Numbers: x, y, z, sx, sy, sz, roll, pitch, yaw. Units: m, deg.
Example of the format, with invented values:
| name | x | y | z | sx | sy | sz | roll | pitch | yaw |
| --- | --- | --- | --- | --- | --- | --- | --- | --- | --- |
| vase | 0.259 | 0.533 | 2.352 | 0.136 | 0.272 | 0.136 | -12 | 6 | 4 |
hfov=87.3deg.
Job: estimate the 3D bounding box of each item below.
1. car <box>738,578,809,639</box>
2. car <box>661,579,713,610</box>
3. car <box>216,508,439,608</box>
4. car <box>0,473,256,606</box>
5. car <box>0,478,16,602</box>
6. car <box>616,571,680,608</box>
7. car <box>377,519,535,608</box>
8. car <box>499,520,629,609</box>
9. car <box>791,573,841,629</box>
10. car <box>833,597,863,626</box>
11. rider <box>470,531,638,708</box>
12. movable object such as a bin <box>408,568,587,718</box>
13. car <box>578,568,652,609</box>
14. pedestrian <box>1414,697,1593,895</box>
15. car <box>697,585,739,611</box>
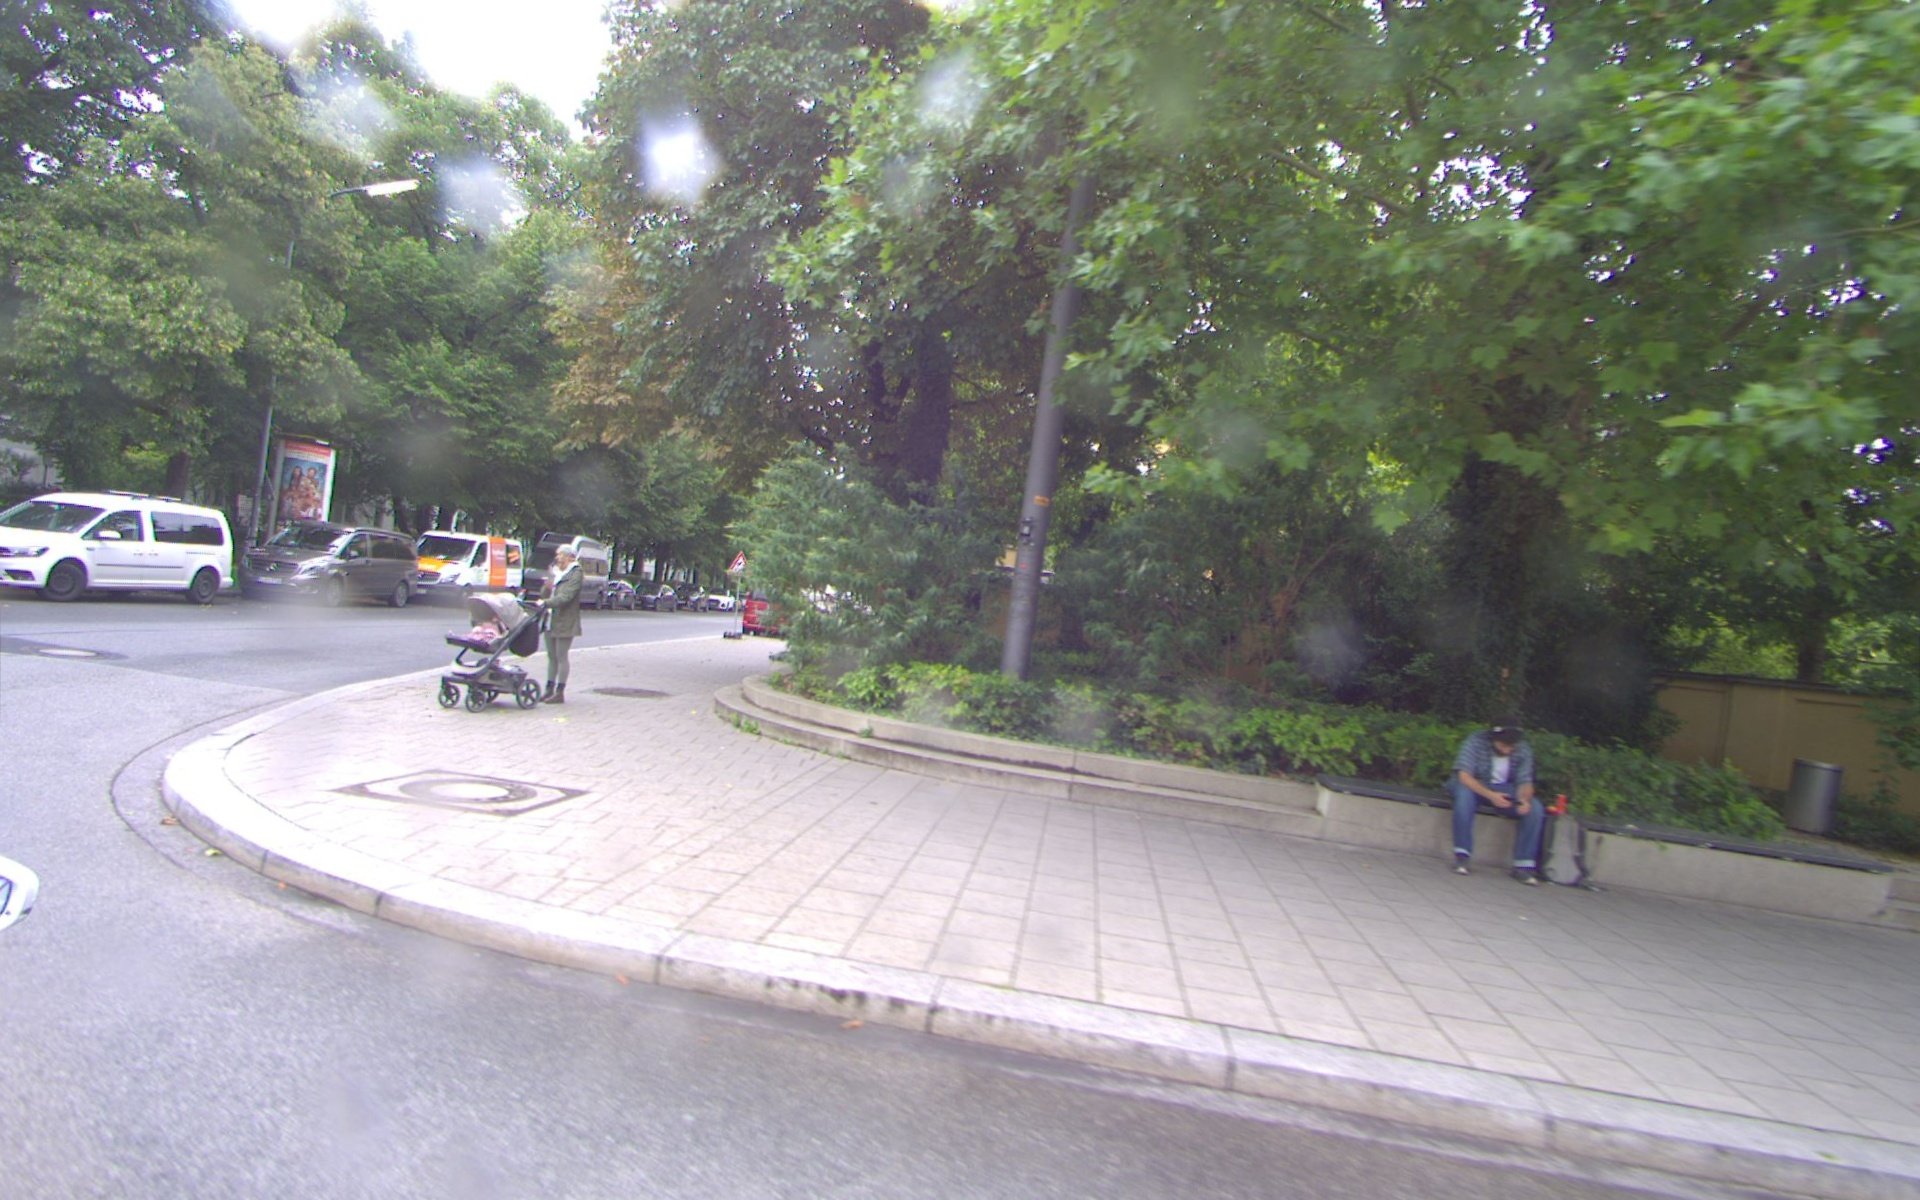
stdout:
| name | x | y | z | sx | sy | sz | roll | pitch | yaw |
| --- | --- | --- | --- | --- | --- | --- | --- | --- | --- |
| car | -6.985 | 0.295 | 38.118 | 2.012 | 1.946 | 4.442 | 7 | 0 | -5 |
| car | -16.314 | -0.297 | 60.289 | 1.867 | 1.590 | 4.074 | 7 | -1 | -1 |
| car | -15.051 | -0.899 | 24.373 | 2.033 | 1.881 | 4.987 | 7 | -1 | 0 |
| car | -15.045 | -0.996 | 17.589 | 1.897 | 1.917 | 4.867 | 7 | -1 | -1 |
| car | -14.872 | -1.029 | 12.207 | 2.033 | 1.788 | 4.907 | 7 | -1 | 0 |
| car | -15.971 | -0.494 | 51.719 | 1.867 | 1.556 | 4.074 | 7 | -1 | -1 |
| car | -15.543 | -1.019 | 31.434 | 2.078 | 2.278 | 5.195 | 7 | -1 | 0 |
| car | -15.799 | -1.294 | 40.649 | 2.299 | 2.957 | 6.579 | 7 | -1 | 0 |
| car | -7.658 | 0.068 | 53.868 | 2.011 | 2.589 | 5.244 | 7 | 0 | -5 |
| car | -8.540 | 0.836 | 76.927 | 2.012 | 1.946 | 4.442 | 7 | 0 | -5 |
| rider | -4.251 | 0.203 | 10.619 | 1.065 | 1.688 | 1.140 | 5 | 0 | 13 |
| movable object such as a bin | -4.461 | 0.404 | 9.777 | 1.061 | 1.283 | 1.087 | 5 | 0 | 13 |
| car | -15.971 | -0.488 | 46.803 | 1.867 | 1.590 | 4.309 | 7 | -1 | -1 |
| pedestrian | 3.975 | 1.402 | 7.450 | 0.799 | 1.203 | 0.920 | 7 | 0 | 11 |
| car | -17.139 | -0.116 | 71.508 | 1.867 | 1.590 | 4.074 | 7 | -1 | -1 |
